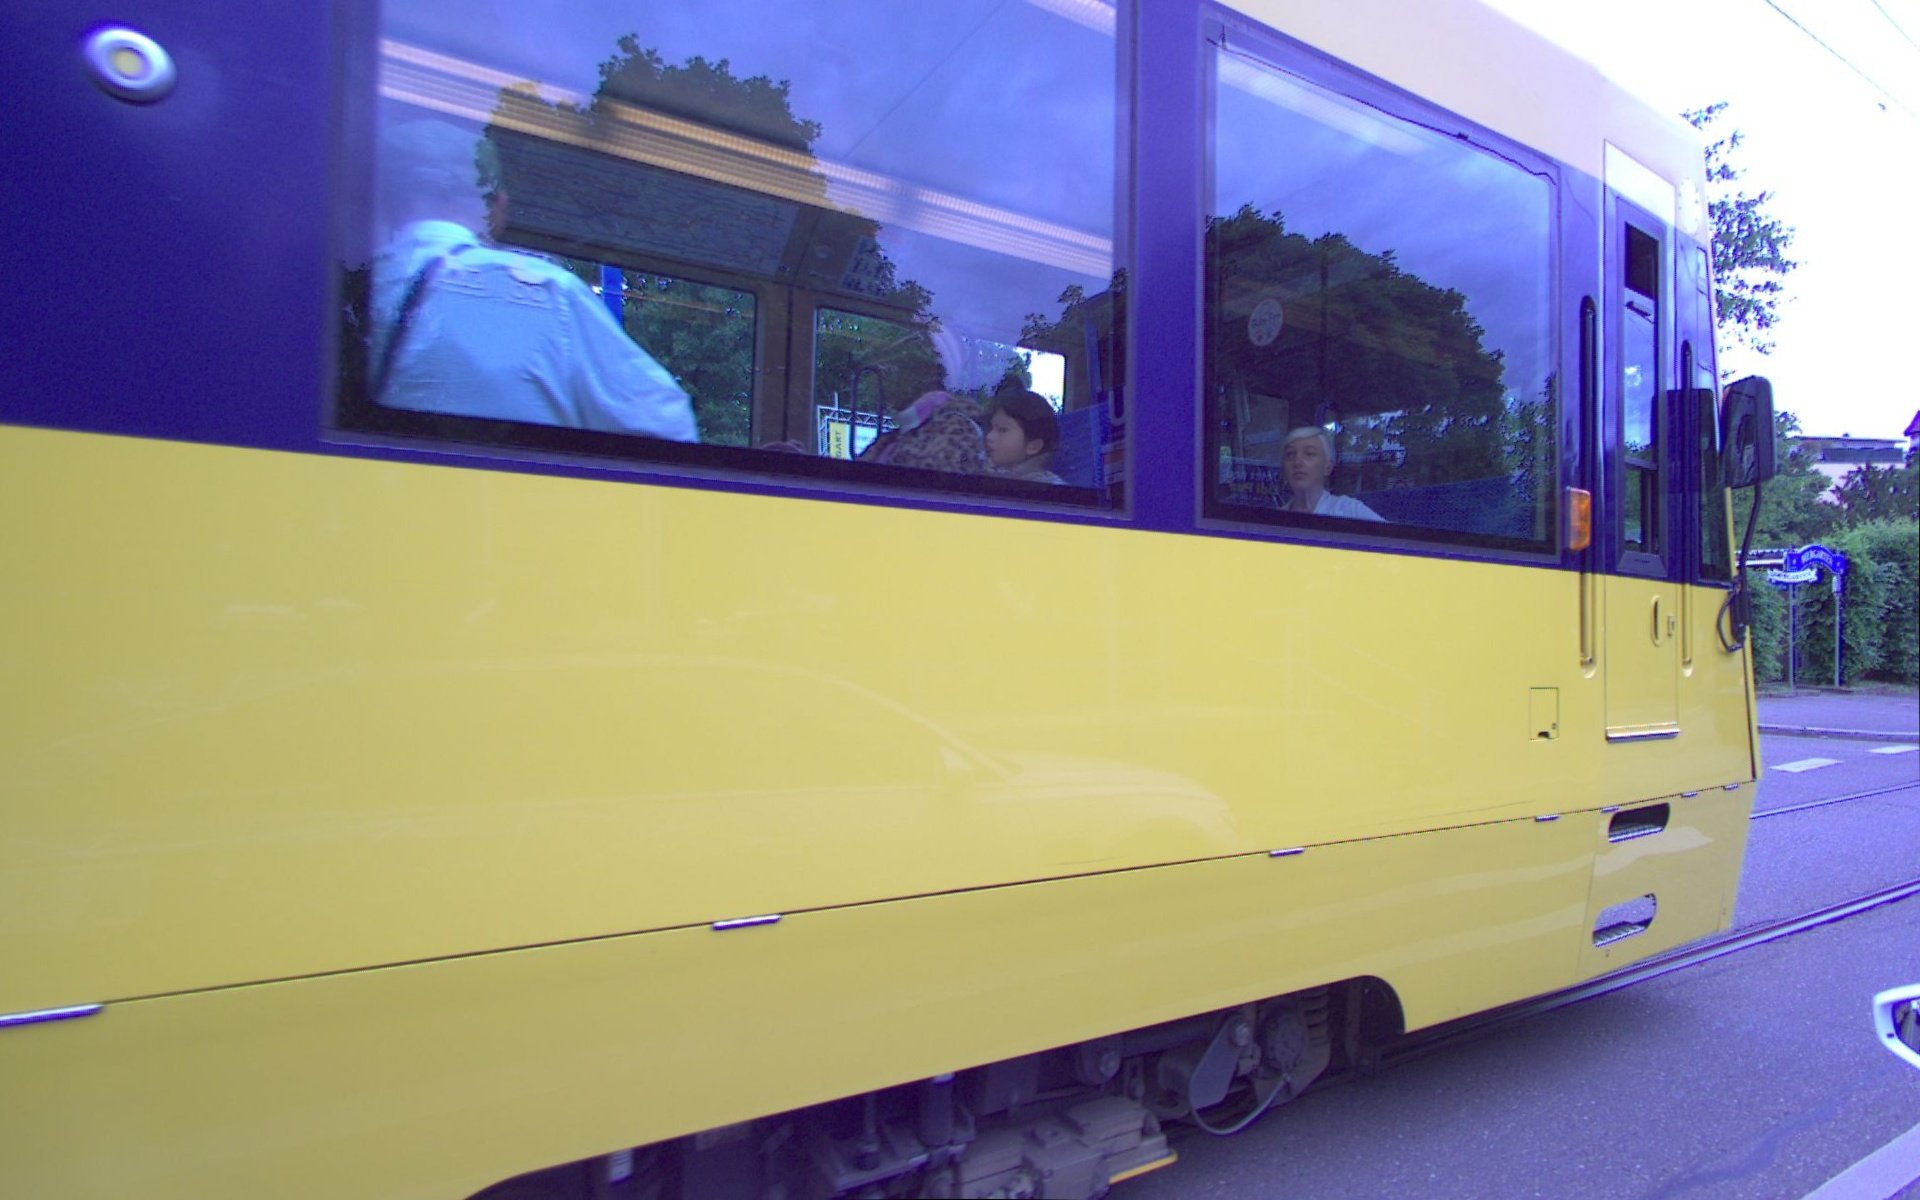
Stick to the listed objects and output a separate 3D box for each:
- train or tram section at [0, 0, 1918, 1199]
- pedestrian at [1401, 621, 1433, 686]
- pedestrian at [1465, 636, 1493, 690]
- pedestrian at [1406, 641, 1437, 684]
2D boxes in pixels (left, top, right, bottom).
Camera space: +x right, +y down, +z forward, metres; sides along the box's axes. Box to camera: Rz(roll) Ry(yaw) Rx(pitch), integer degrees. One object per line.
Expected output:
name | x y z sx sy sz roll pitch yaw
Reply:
train or tram section | -2.283 -0.405 1.986 11.988 3.685 2.836 2 0 -31
pedestrian | 12.324 1.426 27.089 0.652 1.686 0.622 2 0 15
pedestrian | 13.364 1.616 25.864 0.509 1.360 0.483 2 0 15
pedestrian | 12.179 1.650 26.505 0.652 1.078 0.483 2 0 15
